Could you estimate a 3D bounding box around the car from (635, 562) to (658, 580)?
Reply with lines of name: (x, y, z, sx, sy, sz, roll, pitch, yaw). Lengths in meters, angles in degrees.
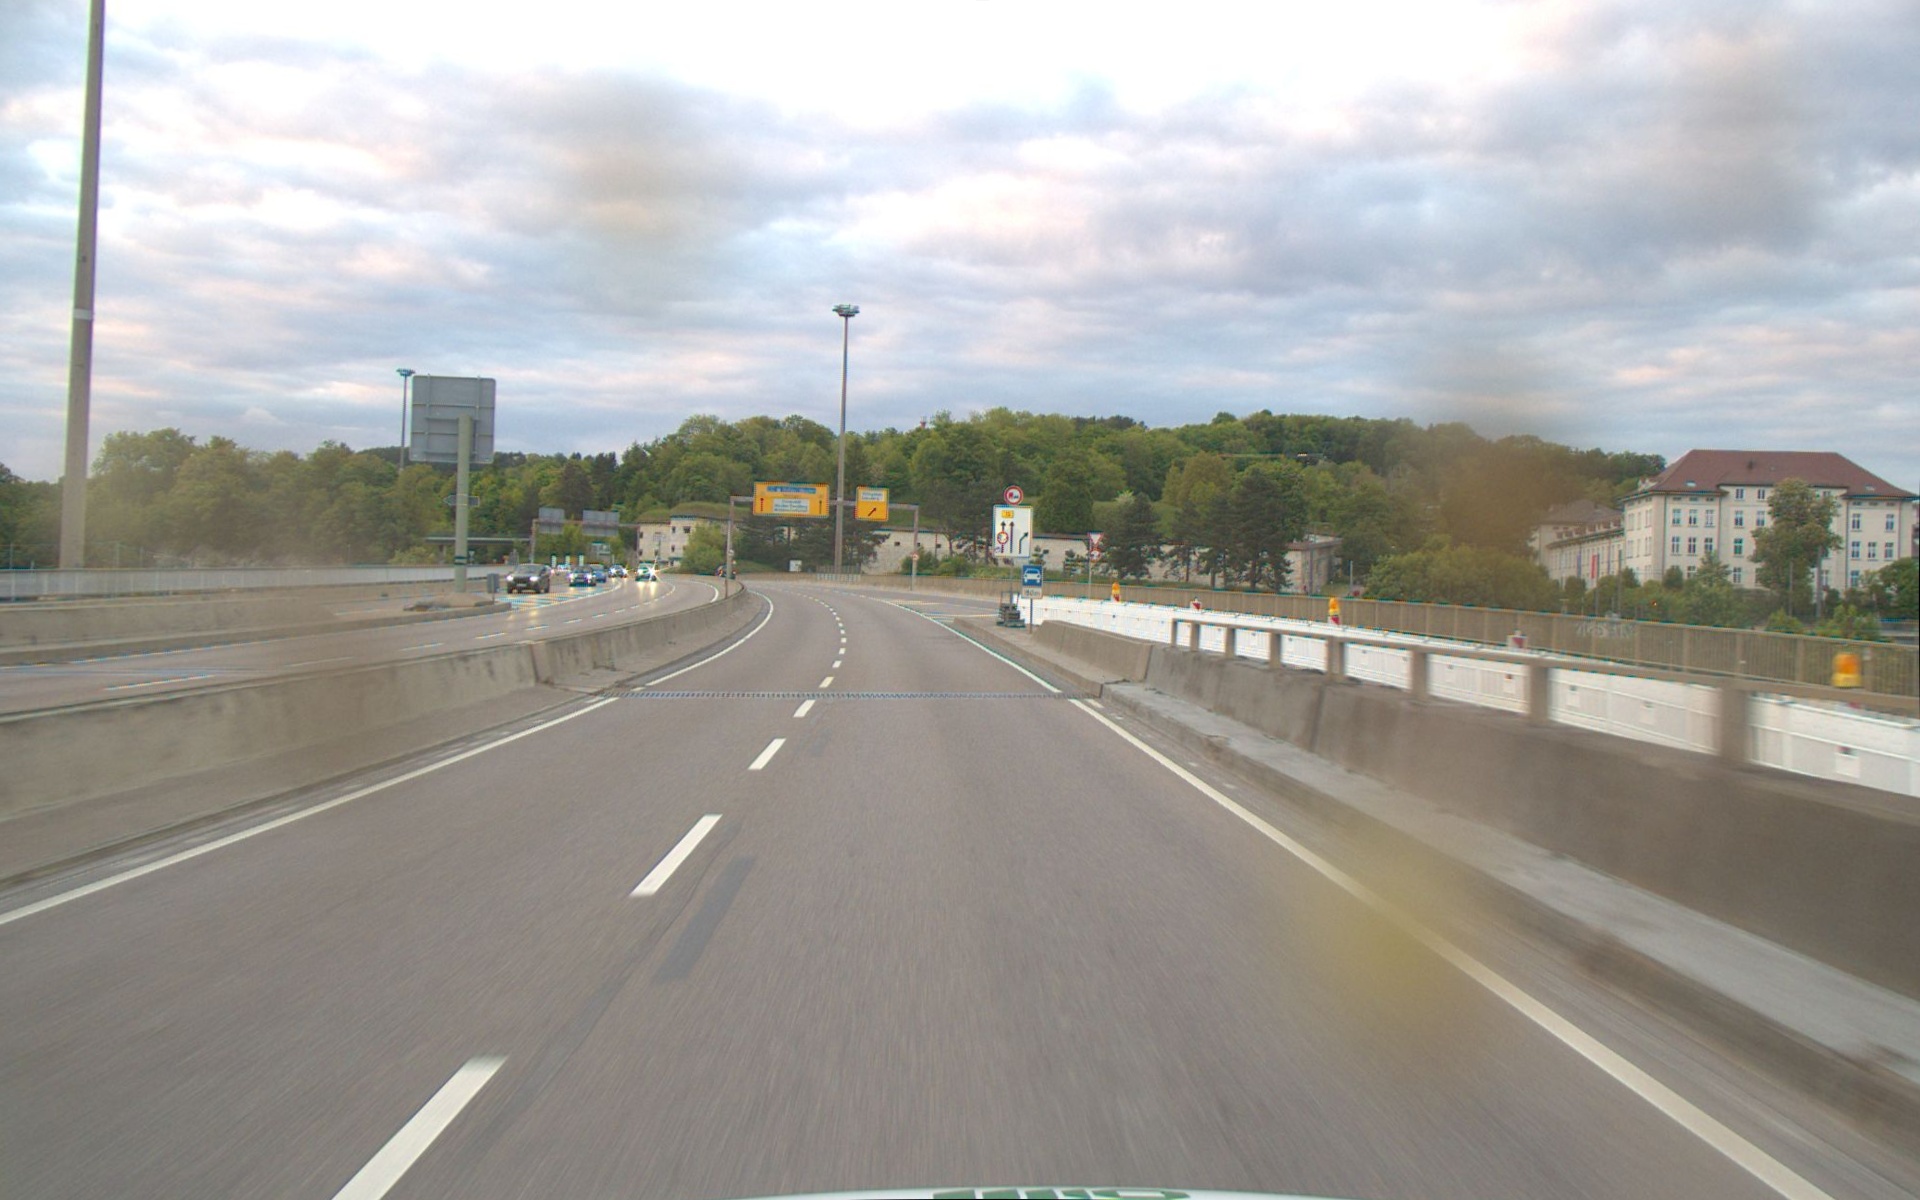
car: (-28.772, -2.691, 151.708, 1.682, 1.520, 4.065, 3, 0, -15)

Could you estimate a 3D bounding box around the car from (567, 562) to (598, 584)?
car: (-27.121, -1.909, 118.870, 1.762, 1.512, 3.836, 1, 1, -7)

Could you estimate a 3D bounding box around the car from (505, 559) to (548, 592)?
car: (-24.587, -1.392, 93.916, 1.604, 1.747, 3.996, 3, 0, -5)

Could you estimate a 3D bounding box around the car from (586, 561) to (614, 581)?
car: (-29.841, -2.440, 137.194, 1.861, 1.623, 4.157, 1, 1, -6)

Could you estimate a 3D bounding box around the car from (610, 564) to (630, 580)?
car: (-41.533, -3.431, 201.979, 1.785, 1.560, 4.522, 7, 0, -19)

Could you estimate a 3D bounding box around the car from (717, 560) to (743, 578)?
car: (-25.937, -3.500, 186.429, 2.268, 1.794, 4.242, 3, 0, -17)
